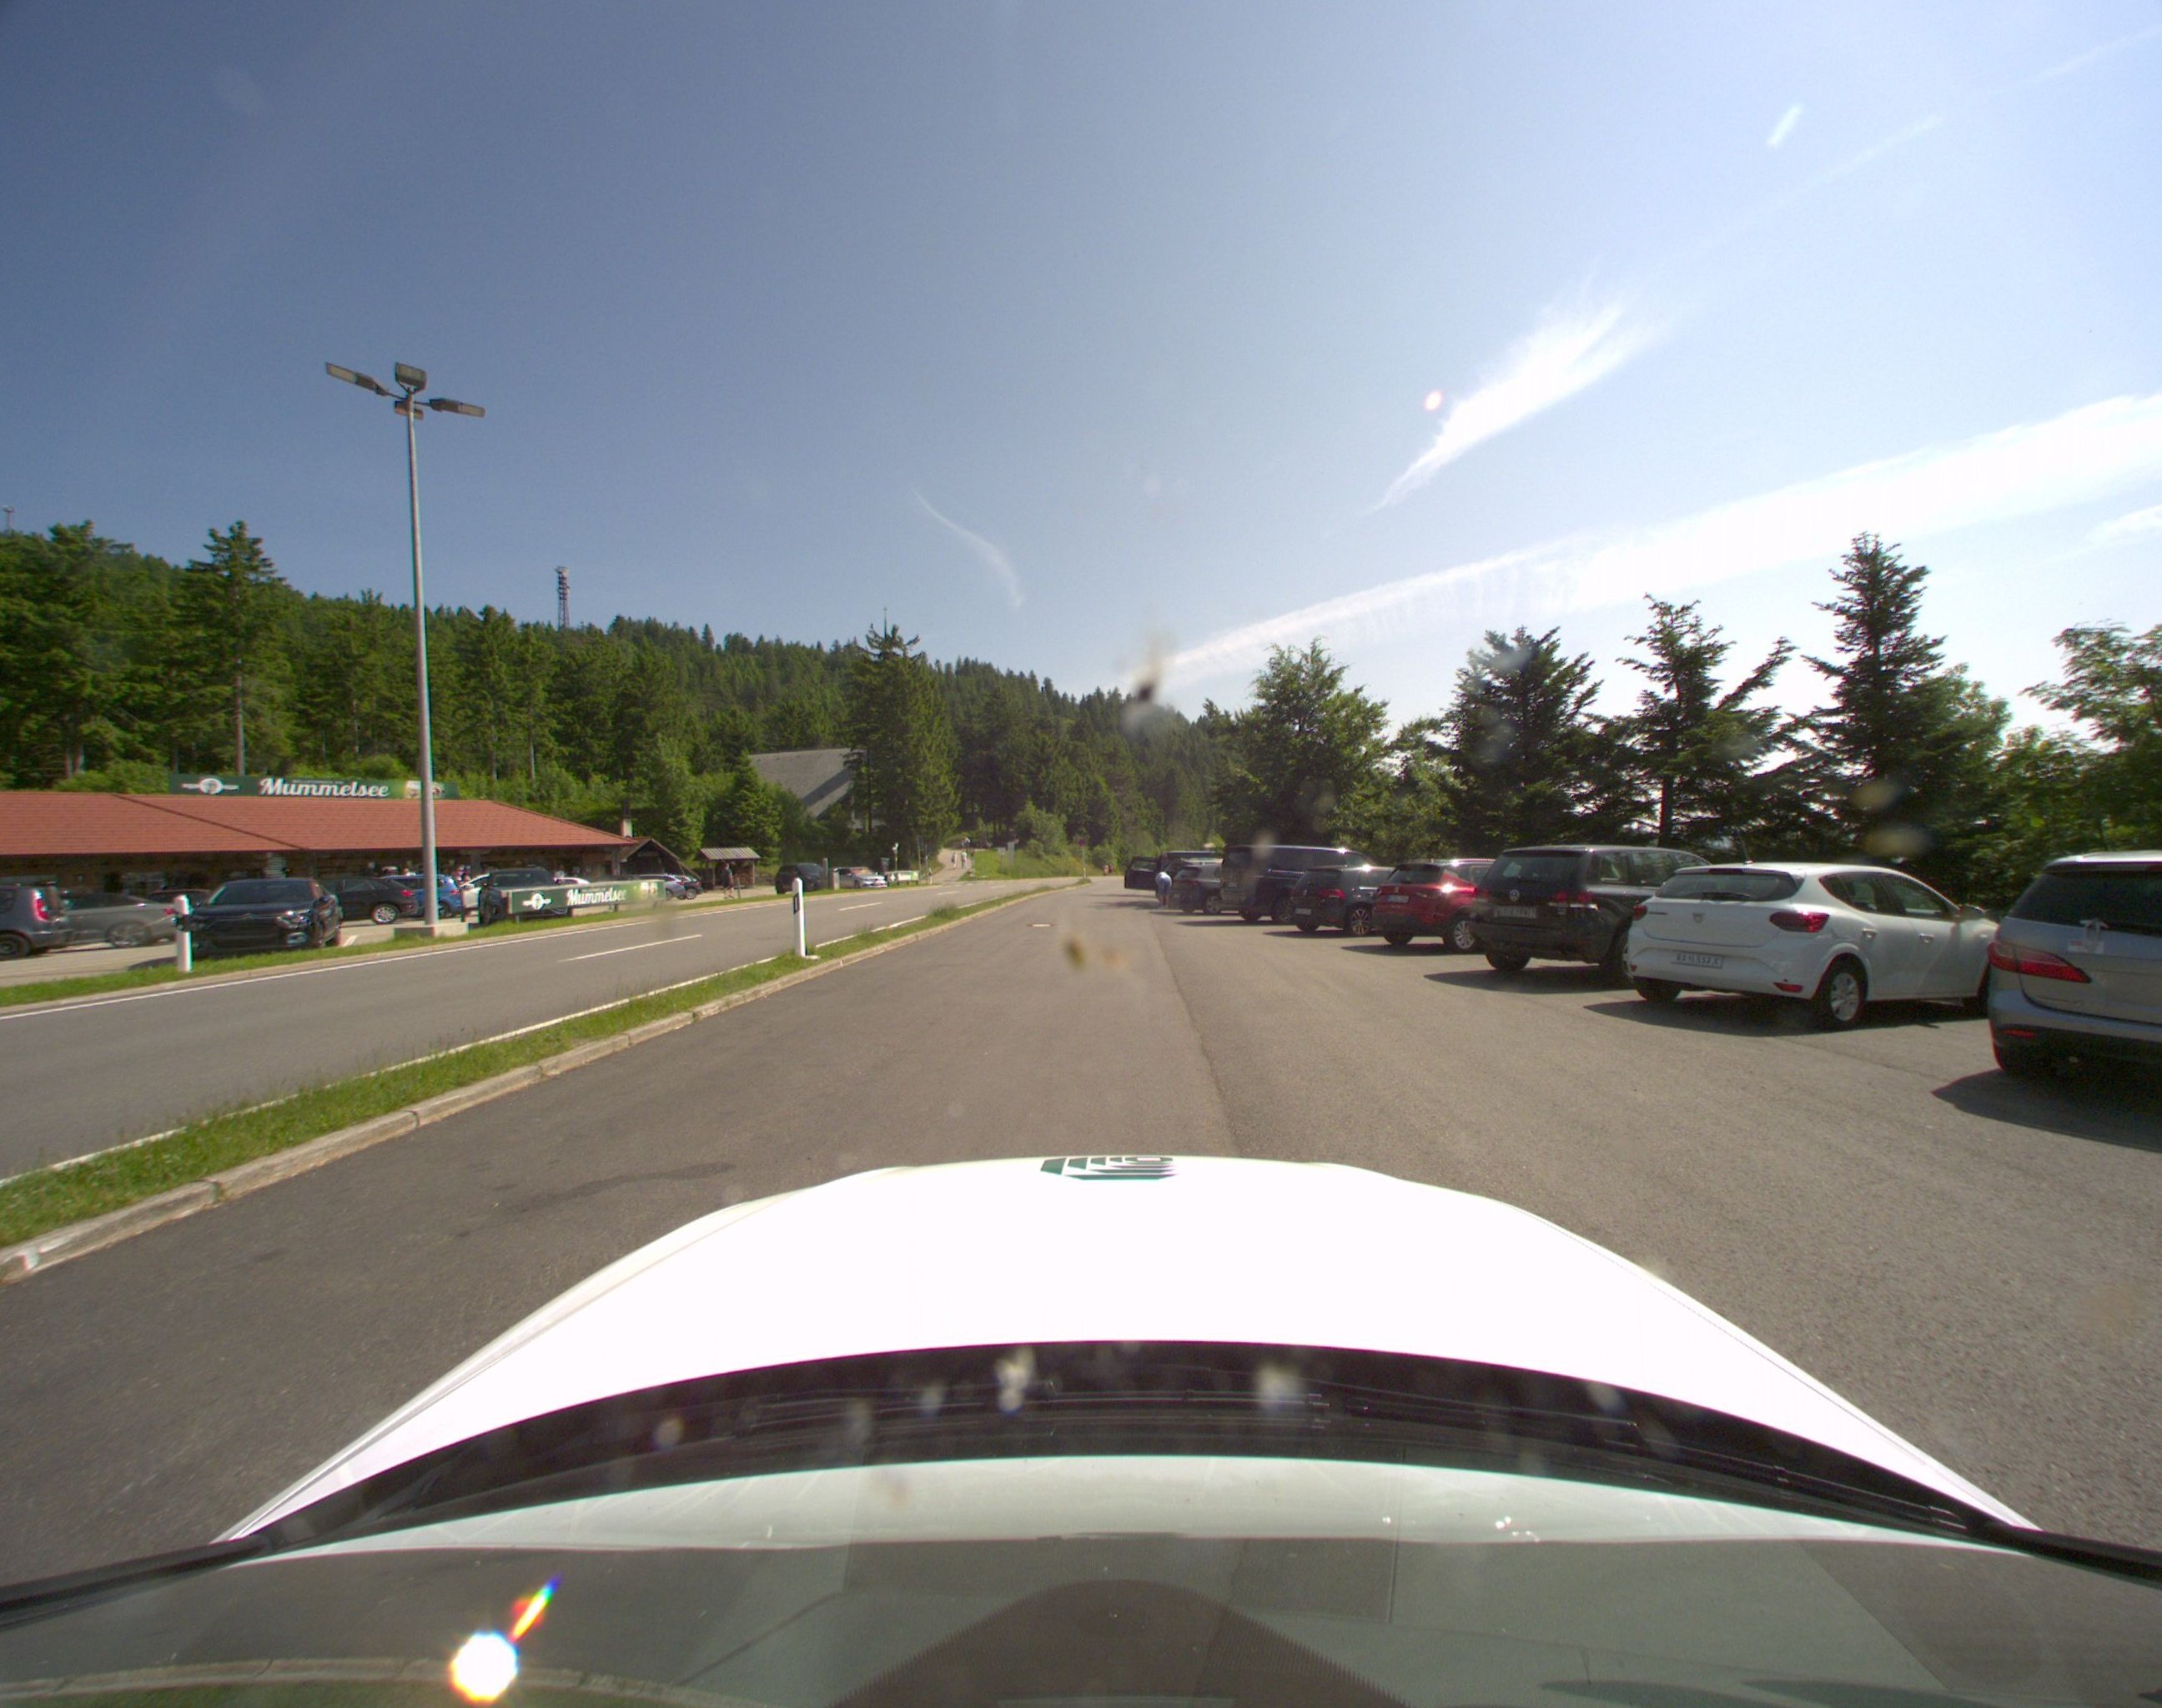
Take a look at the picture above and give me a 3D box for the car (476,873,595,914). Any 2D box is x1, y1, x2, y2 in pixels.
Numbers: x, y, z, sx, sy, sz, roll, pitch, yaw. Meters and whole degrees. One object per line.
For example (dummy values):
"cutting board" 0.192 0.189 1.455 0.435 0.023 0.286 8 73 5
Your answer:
"car" -23.687 1.689 35.414 4.048 1.468 1.755 -3 -1 -42

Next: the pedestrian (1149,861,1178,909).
"pedestrian" 2.546 0.939 25.085 0.768 1.402 0.671 -2 1 10

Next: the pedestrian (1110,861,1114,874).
"pedestrian" 4.388 1.907 115.017 0.392 1.747 0.407 -1 0 11

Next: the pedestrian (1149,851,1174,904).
"pedestrian" 2.704 0.793 27.364 0.581 1.761 0.628 2 -1 -25

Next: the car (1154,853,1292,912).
"car" 4.638 0.924 26.630 4.004 1.662 1.984 4 -2 -24

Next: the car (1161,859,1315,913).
"car" 4.530 0.916 23.636 3.996 1.443 1.829 1 0 -17

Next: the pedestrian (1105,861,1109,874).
"pedestrian" 3.712 1.928 114.985 0.413 1.747 0.457 -3 1 4

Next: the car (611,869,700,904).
"car" -23.430 1.732 44.882 4.020 1.618 1.977 -3 1 -39

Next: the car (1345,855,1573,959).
"car" 6.767 0.859 14.483 4.015 1.590 1.844 1 0 -34

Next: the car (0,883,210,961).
"car" -24.396 1.621 19.867 4.021 1.545 1.877 -3 1 -40

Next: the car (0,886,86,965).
"car" -24.153 1.601 17.153 3.753 1.588 1.714 -3 1 -41

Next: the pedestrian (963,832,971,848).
"pedestrian" -14.701 -1.841 105.074 0.813 2.013 0.852 -3 1 -4

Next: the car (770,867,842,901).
"car" -14.182 1.530 41.871 4.158 1.634 1.800 -2 -2 44

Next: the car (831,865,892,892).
"car" -12.919 1.449 47.793 1.754 1.441 3.922 -3 0 -42

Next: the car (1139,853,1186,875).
"car" 7.073 0.835 70.668 3.969 1.719 1.870 3 1 4

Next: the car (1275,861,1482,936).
"car" 6.263 0.895 17.118 4.004 1.415 1.731 1 0 -23

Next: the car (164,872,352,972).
"car" -15.633 1.177 15.716 1.791 1.552 3.957 -3 1 -35

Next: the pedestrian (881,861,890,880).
"pedestrian" -16.137 1.389 67.247 0.574 1.532 0.553 -3 1 4

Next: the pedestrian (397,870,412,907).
"pedestrian" -34.515 1.744 41.535 0.531 1.874 0.540 0 -1 -43

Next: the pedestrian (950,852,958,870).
"pedestrian" -12.377 0.706 79.425 0.651 1.667 0.642 -2 -2 -2

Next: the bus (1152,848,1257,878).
"bus" 15.616 1.183 103.381 12.751 3.578 2.997 -1 1 20

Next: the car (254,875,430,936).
"car" -23.652 1.598 26.259 4.022 1.574 1.976 -3 0 -41

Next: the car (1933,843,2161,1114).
"car" 7.973 0.752 5.610 4.007 1.549 1.805 1 0 -26

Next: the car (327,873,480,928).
"car" -24.045 1.595 29.039 4.022 1.574 1.976 -3 0 -41

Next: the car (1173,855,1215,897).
"car" 5.954 1.129 43.305 1.896 1.972 4.825 3 0 5

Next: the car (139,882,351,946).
"car" -23.615 1.639 23.263 4.022 1.420 1.885 -3 0 -41

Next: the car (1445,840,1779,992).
"car" 7.170 0.725 10.943 4.284 1.694 1.973 1 0 -29

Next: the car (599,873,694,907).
"car" -22.527 1.863 42.308 4.021 1.419 1.665 -3 -1 -40

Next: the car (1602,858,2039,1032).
"car" 7.651 0.819 8.460 4.001 1.476 1.755 1 -1 -21

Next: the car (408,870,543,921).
"car" -23.796 1.596 32.079 4.053 1.672 1.755 -3 -1 -42

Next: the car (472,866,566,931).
"car" -15.642 1.169 22.581 1.749 1.567 4.012 -1 0 -40

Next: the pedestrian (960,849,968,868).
"pedestrian" -11.481 0.436 80.046 0.651 1.799 0.642 -2 -1 -2

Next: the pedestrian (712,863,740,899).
"pedestrian" -17.901 1.370 41.098 0.892 1.734 0.962 -3 1 4

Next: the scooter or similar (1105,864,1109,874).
"scooter or similar" 3.619 2.122 114.354 0.481 1.380 0.818 -3 1 4

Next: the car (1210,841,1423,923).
"car" 5.826 0.699 20.289 4.765 1.880 1.956 1 0 -15

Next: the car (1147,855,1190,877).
"car" 8.364 1.111 77.476 3.967 1.814 1.943 3 1 6
